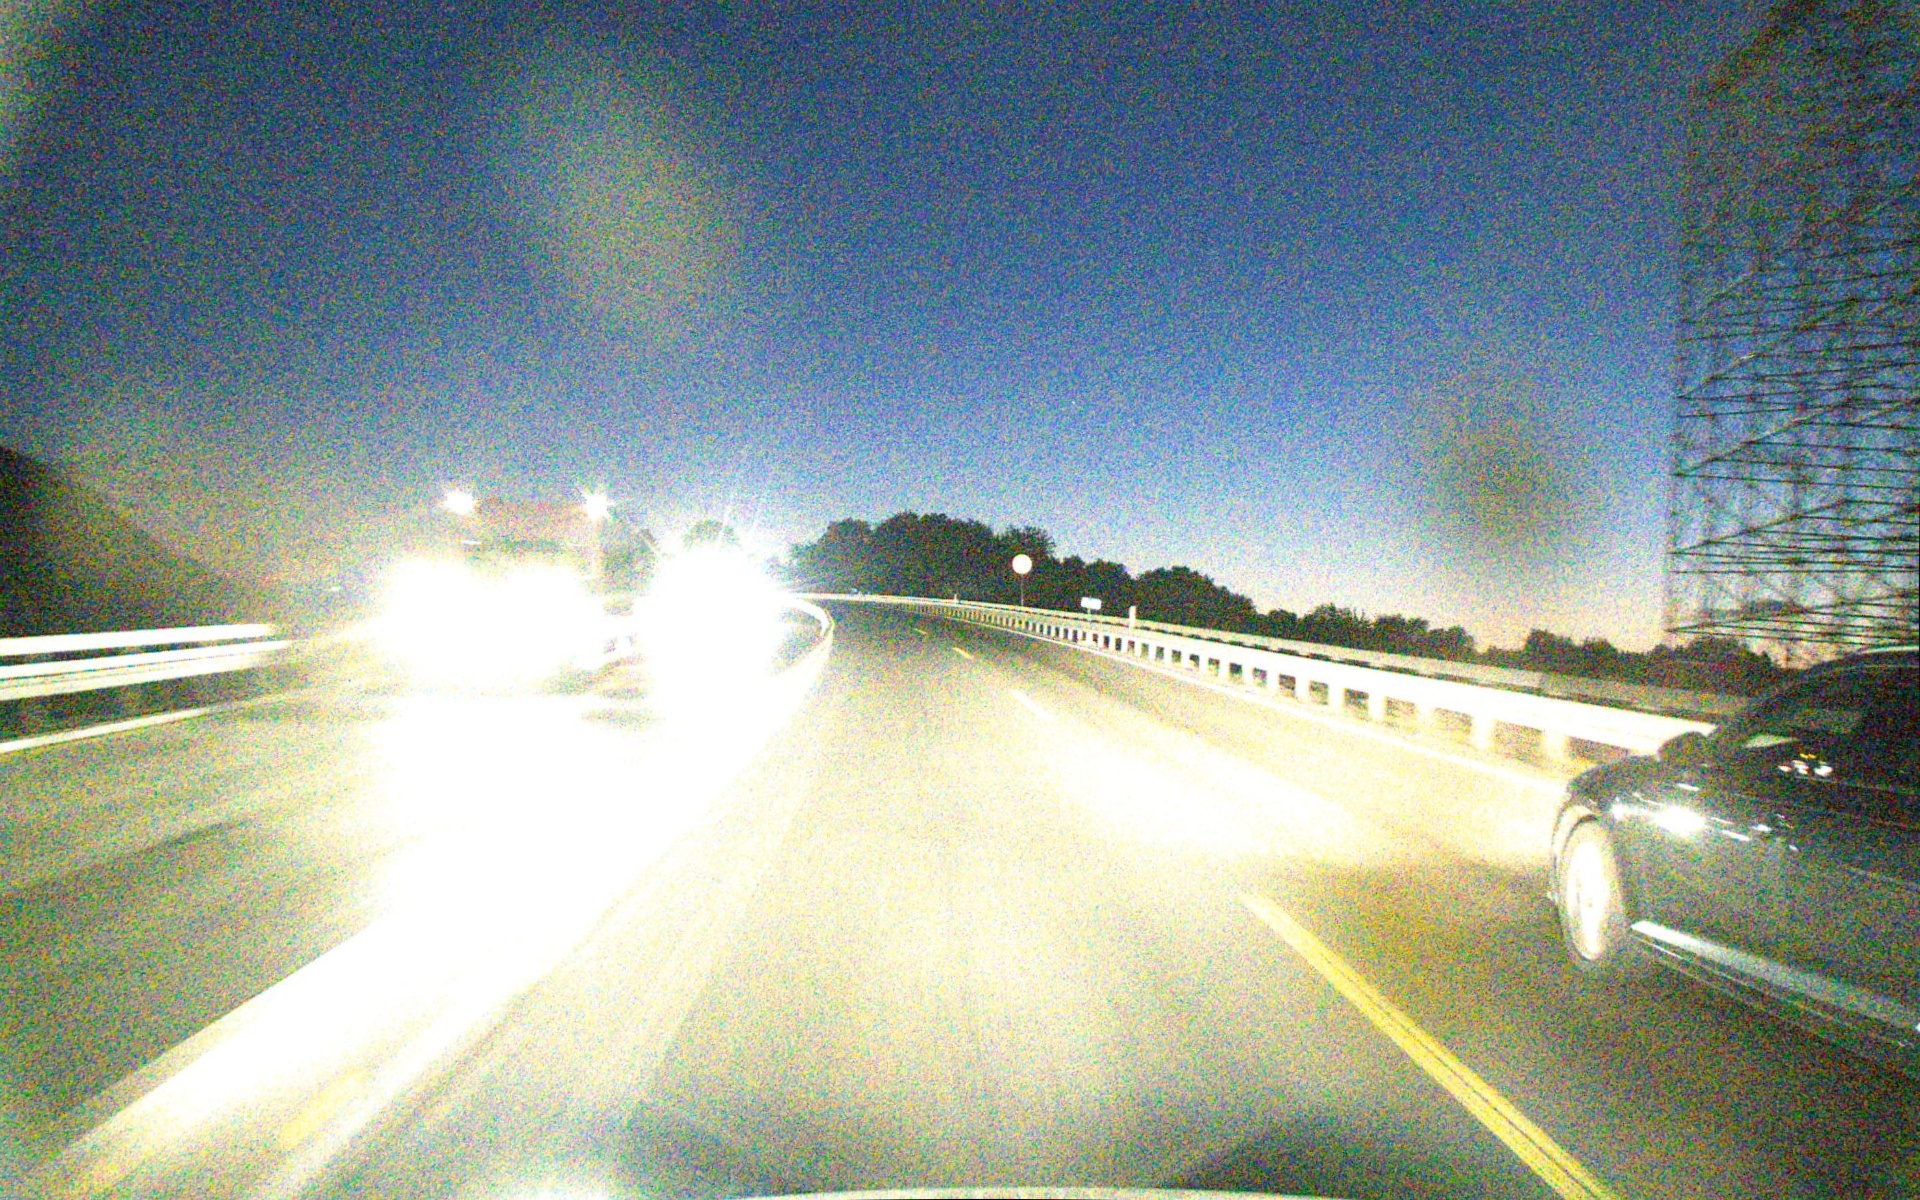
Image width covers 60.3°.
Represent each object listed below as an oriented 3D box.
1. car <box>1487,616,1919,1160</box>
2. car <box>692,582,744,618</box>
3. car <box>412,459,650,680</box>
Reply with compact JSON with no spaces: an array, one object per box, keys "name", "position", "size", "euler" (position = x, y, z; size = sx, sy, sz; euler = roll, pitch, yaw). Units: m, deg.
[{"name":"car","position":[3.479,0.806,5.449],"size":[1.772,1.451,4.872],"euler":[0,0,-2]},{"name":"car","position":[-10.237,-0.046,70.315],"size":[1.875,1.451,4.947],"euler":[0,1,-5]},{"name":"car","position":[-6.839,-0.403,27.438],"size":[2.437,3.160,7.379],"euler":[0,-1,-4]}]
